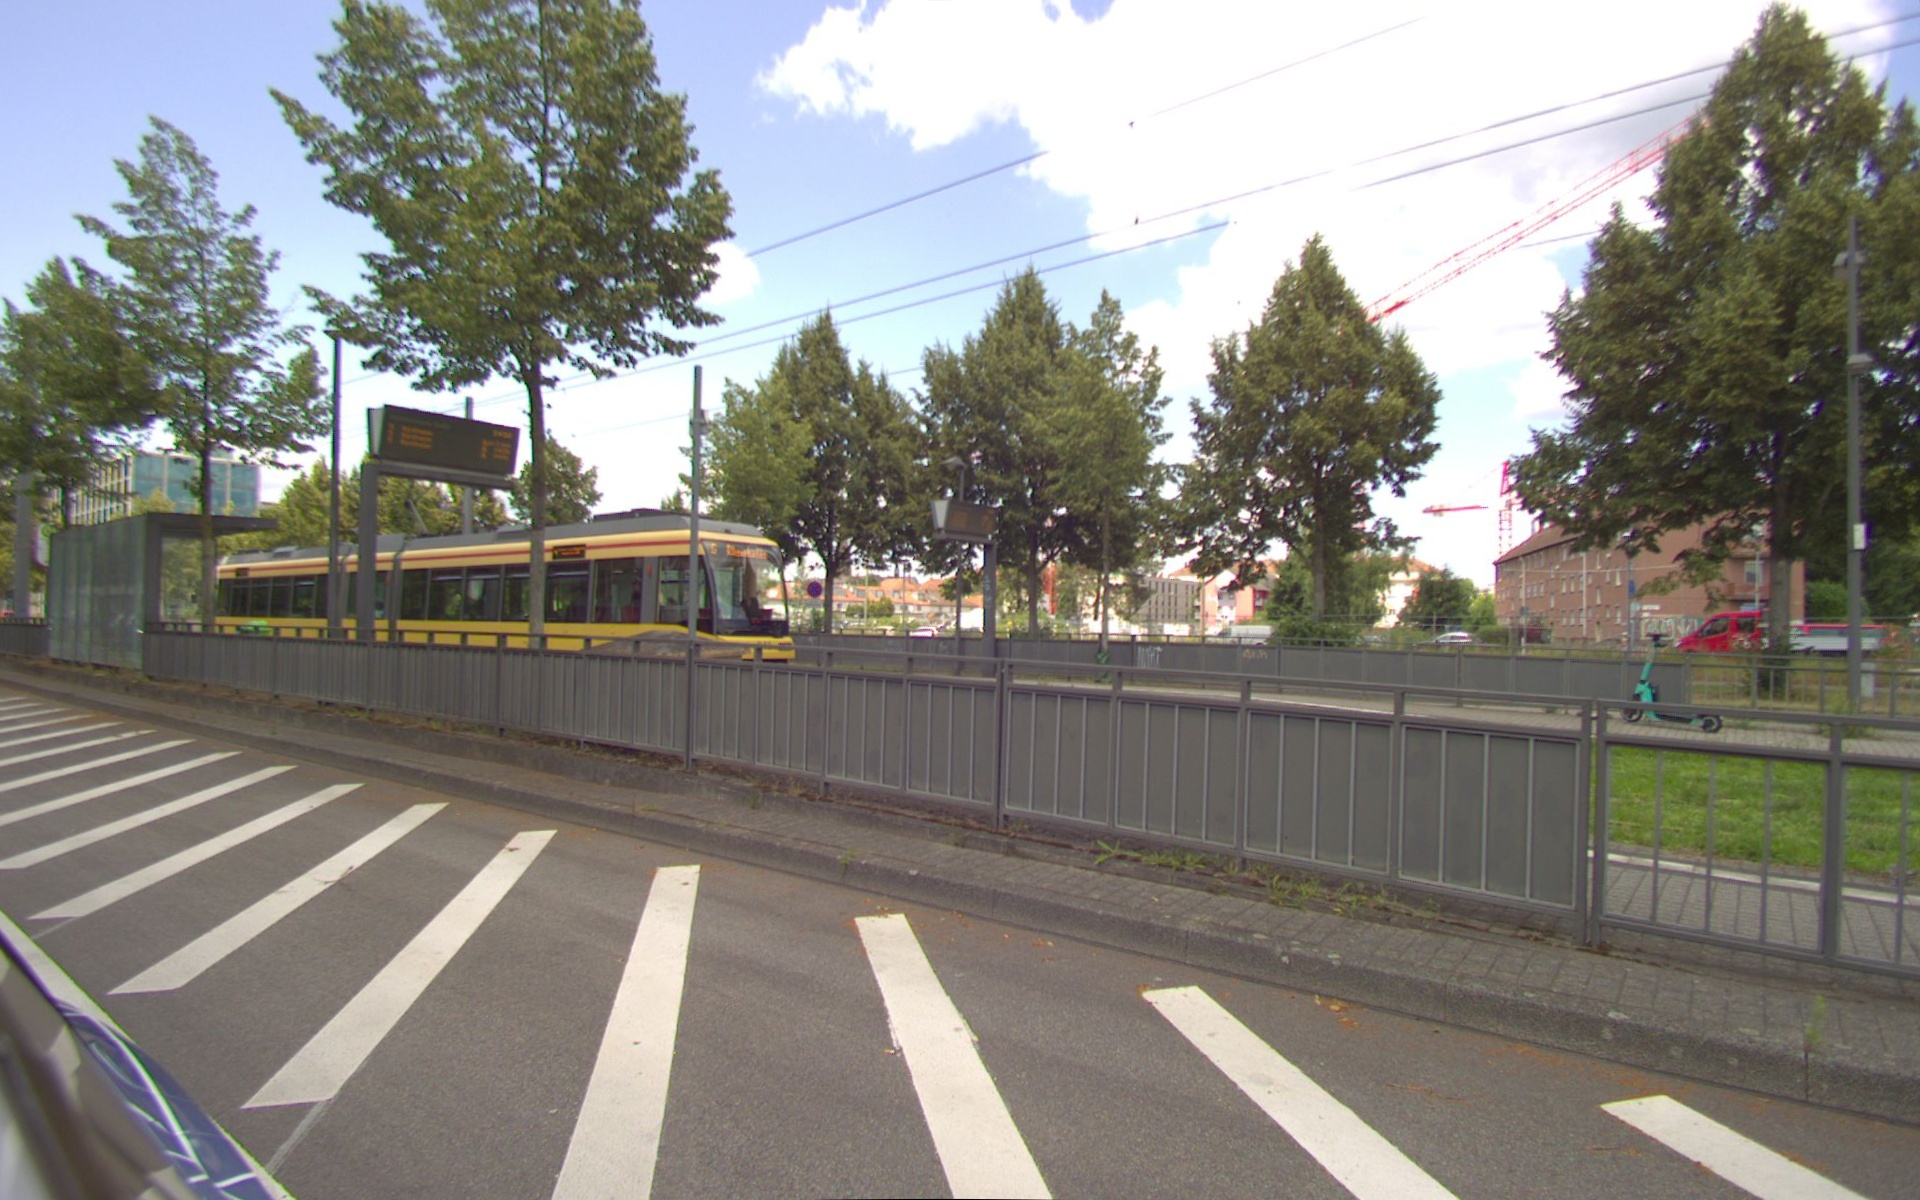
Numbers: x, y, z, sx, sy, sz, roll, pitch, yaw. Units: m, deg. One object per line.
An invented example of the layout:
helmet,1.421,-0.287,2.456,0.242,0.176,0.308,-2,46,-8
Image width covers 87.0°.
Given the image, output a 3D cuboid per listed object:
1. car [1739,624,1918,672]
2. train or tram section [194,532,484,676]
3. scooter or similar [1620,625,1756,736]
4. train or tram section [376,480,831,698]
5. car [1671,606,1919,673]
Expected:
car,35.639,1.933,41.705,2.052,1.866,5.199,1,-2,-33
train or tram section,-19.753,0.262,31.397,14.643,3.666,2.661,-1,-2,38
scooter or similar,9.415,1.006,13.135,0.412,1.312,1.350,1,0,-31
train or tram section,-8.671,-0.042,22.716,13.457,3.768,2.815,-1,-2,38
car,30.451,1.426,37.053,2.353,2.214,6.859,1,-2,-28
